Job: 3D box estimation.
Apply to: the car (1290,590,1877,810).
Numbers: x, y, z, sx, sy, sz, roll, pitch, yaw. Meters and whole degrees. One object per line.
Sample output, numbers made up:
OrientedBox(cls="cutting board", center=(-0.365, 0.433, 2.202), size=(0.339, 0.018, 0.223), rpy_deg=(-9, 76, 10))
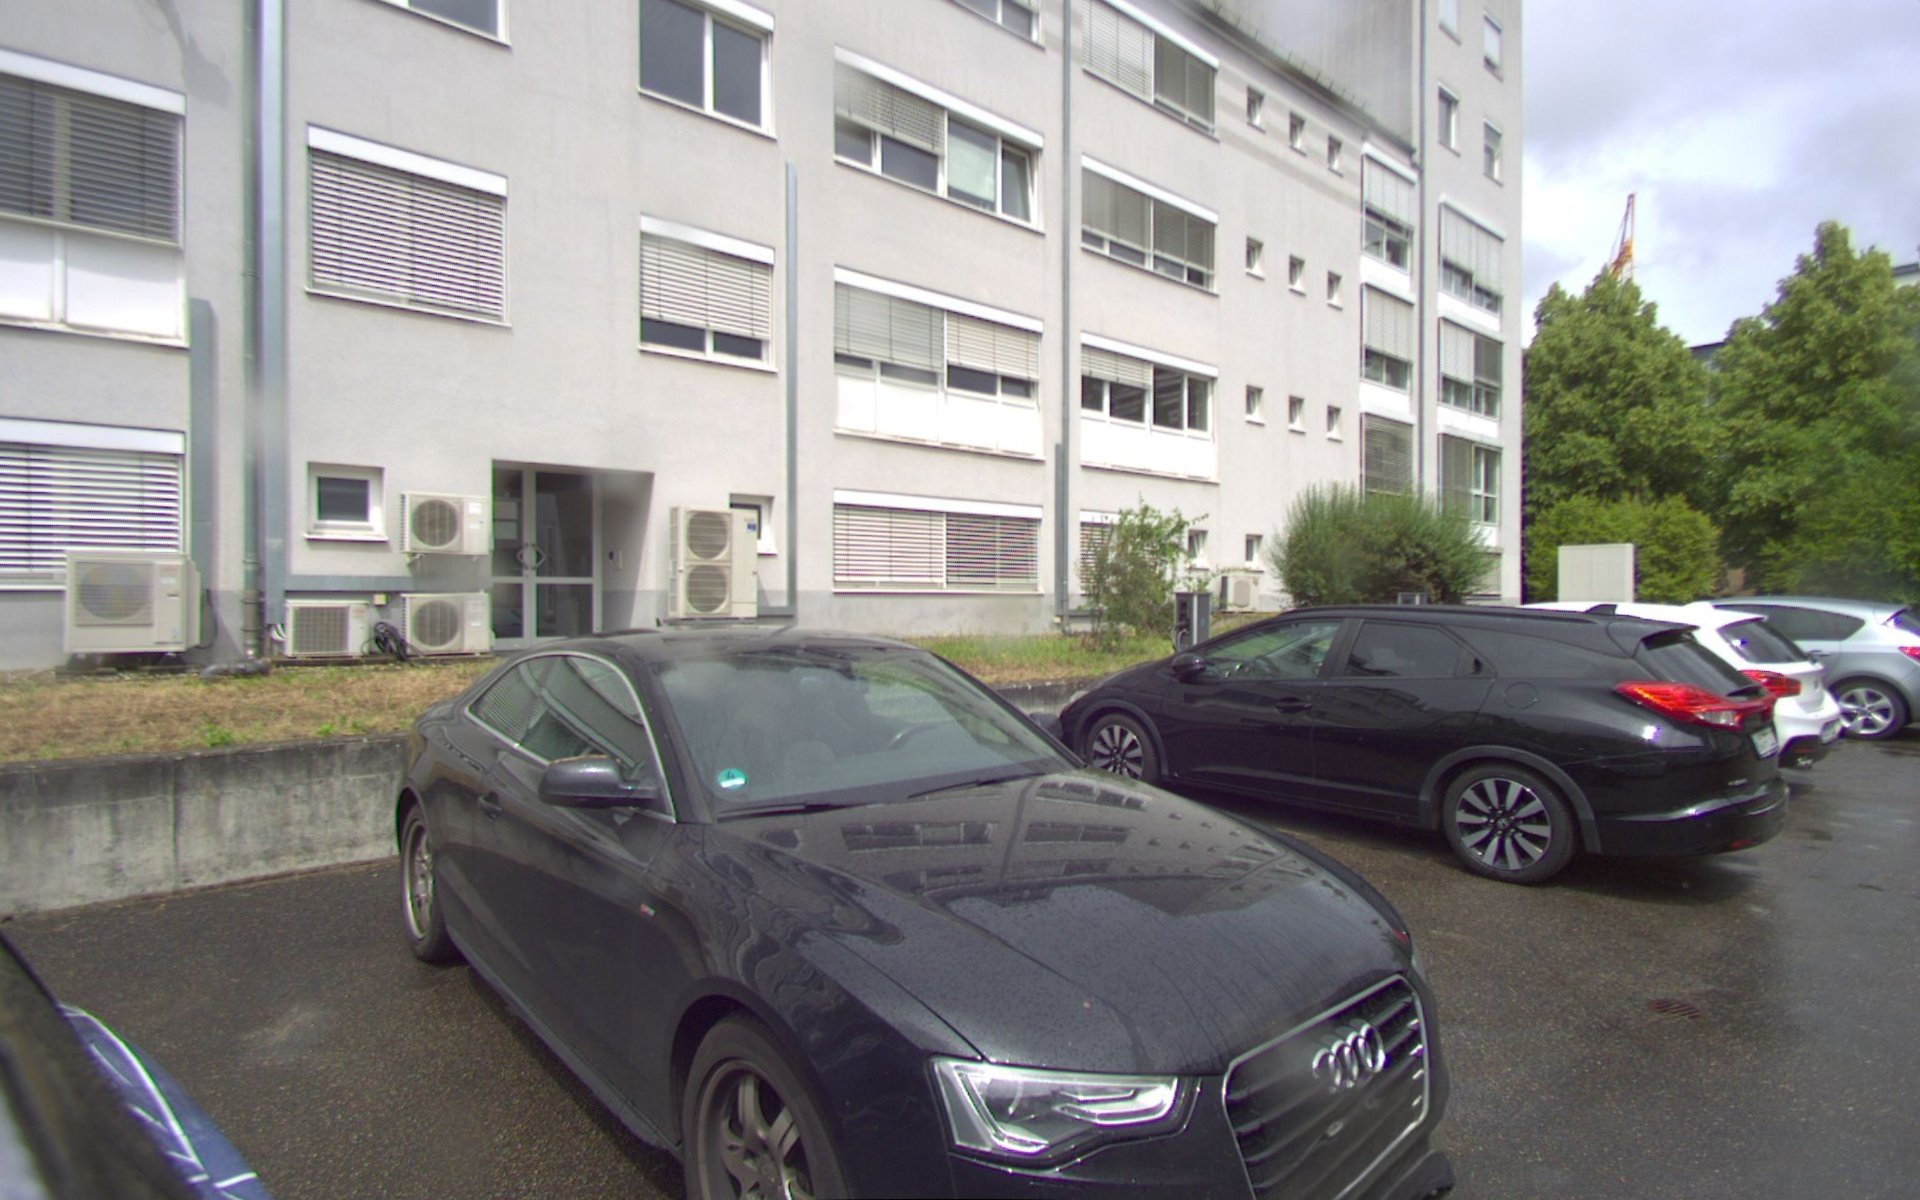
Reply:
OrientedBox(cls="car", center=(5.230, 0.655, 8.983), size=(1.670, 1.453, 4.132), rpy_deg=(-1, 1, -40))

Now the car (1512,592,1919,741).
OrientedBox(cls="car", center=(9.174, 0.656, 11.972), size=(1.736, 1.453, 4.322), rpy_deg=(-1, 1, -42))

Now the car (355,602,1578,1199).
OrientedBox(cls="car", center=(-0.670, 0.735, 3.547), size=(1.736, 1.362, 4.536), rpy_deg=(-1, 1, -41))

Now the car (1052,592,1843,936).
OrientedBox(cls="car", center=(2.775, 0.698, 6.601), size=(1.736, 1.453, 4.321), rpy_deg=(-1, 1, -42))
